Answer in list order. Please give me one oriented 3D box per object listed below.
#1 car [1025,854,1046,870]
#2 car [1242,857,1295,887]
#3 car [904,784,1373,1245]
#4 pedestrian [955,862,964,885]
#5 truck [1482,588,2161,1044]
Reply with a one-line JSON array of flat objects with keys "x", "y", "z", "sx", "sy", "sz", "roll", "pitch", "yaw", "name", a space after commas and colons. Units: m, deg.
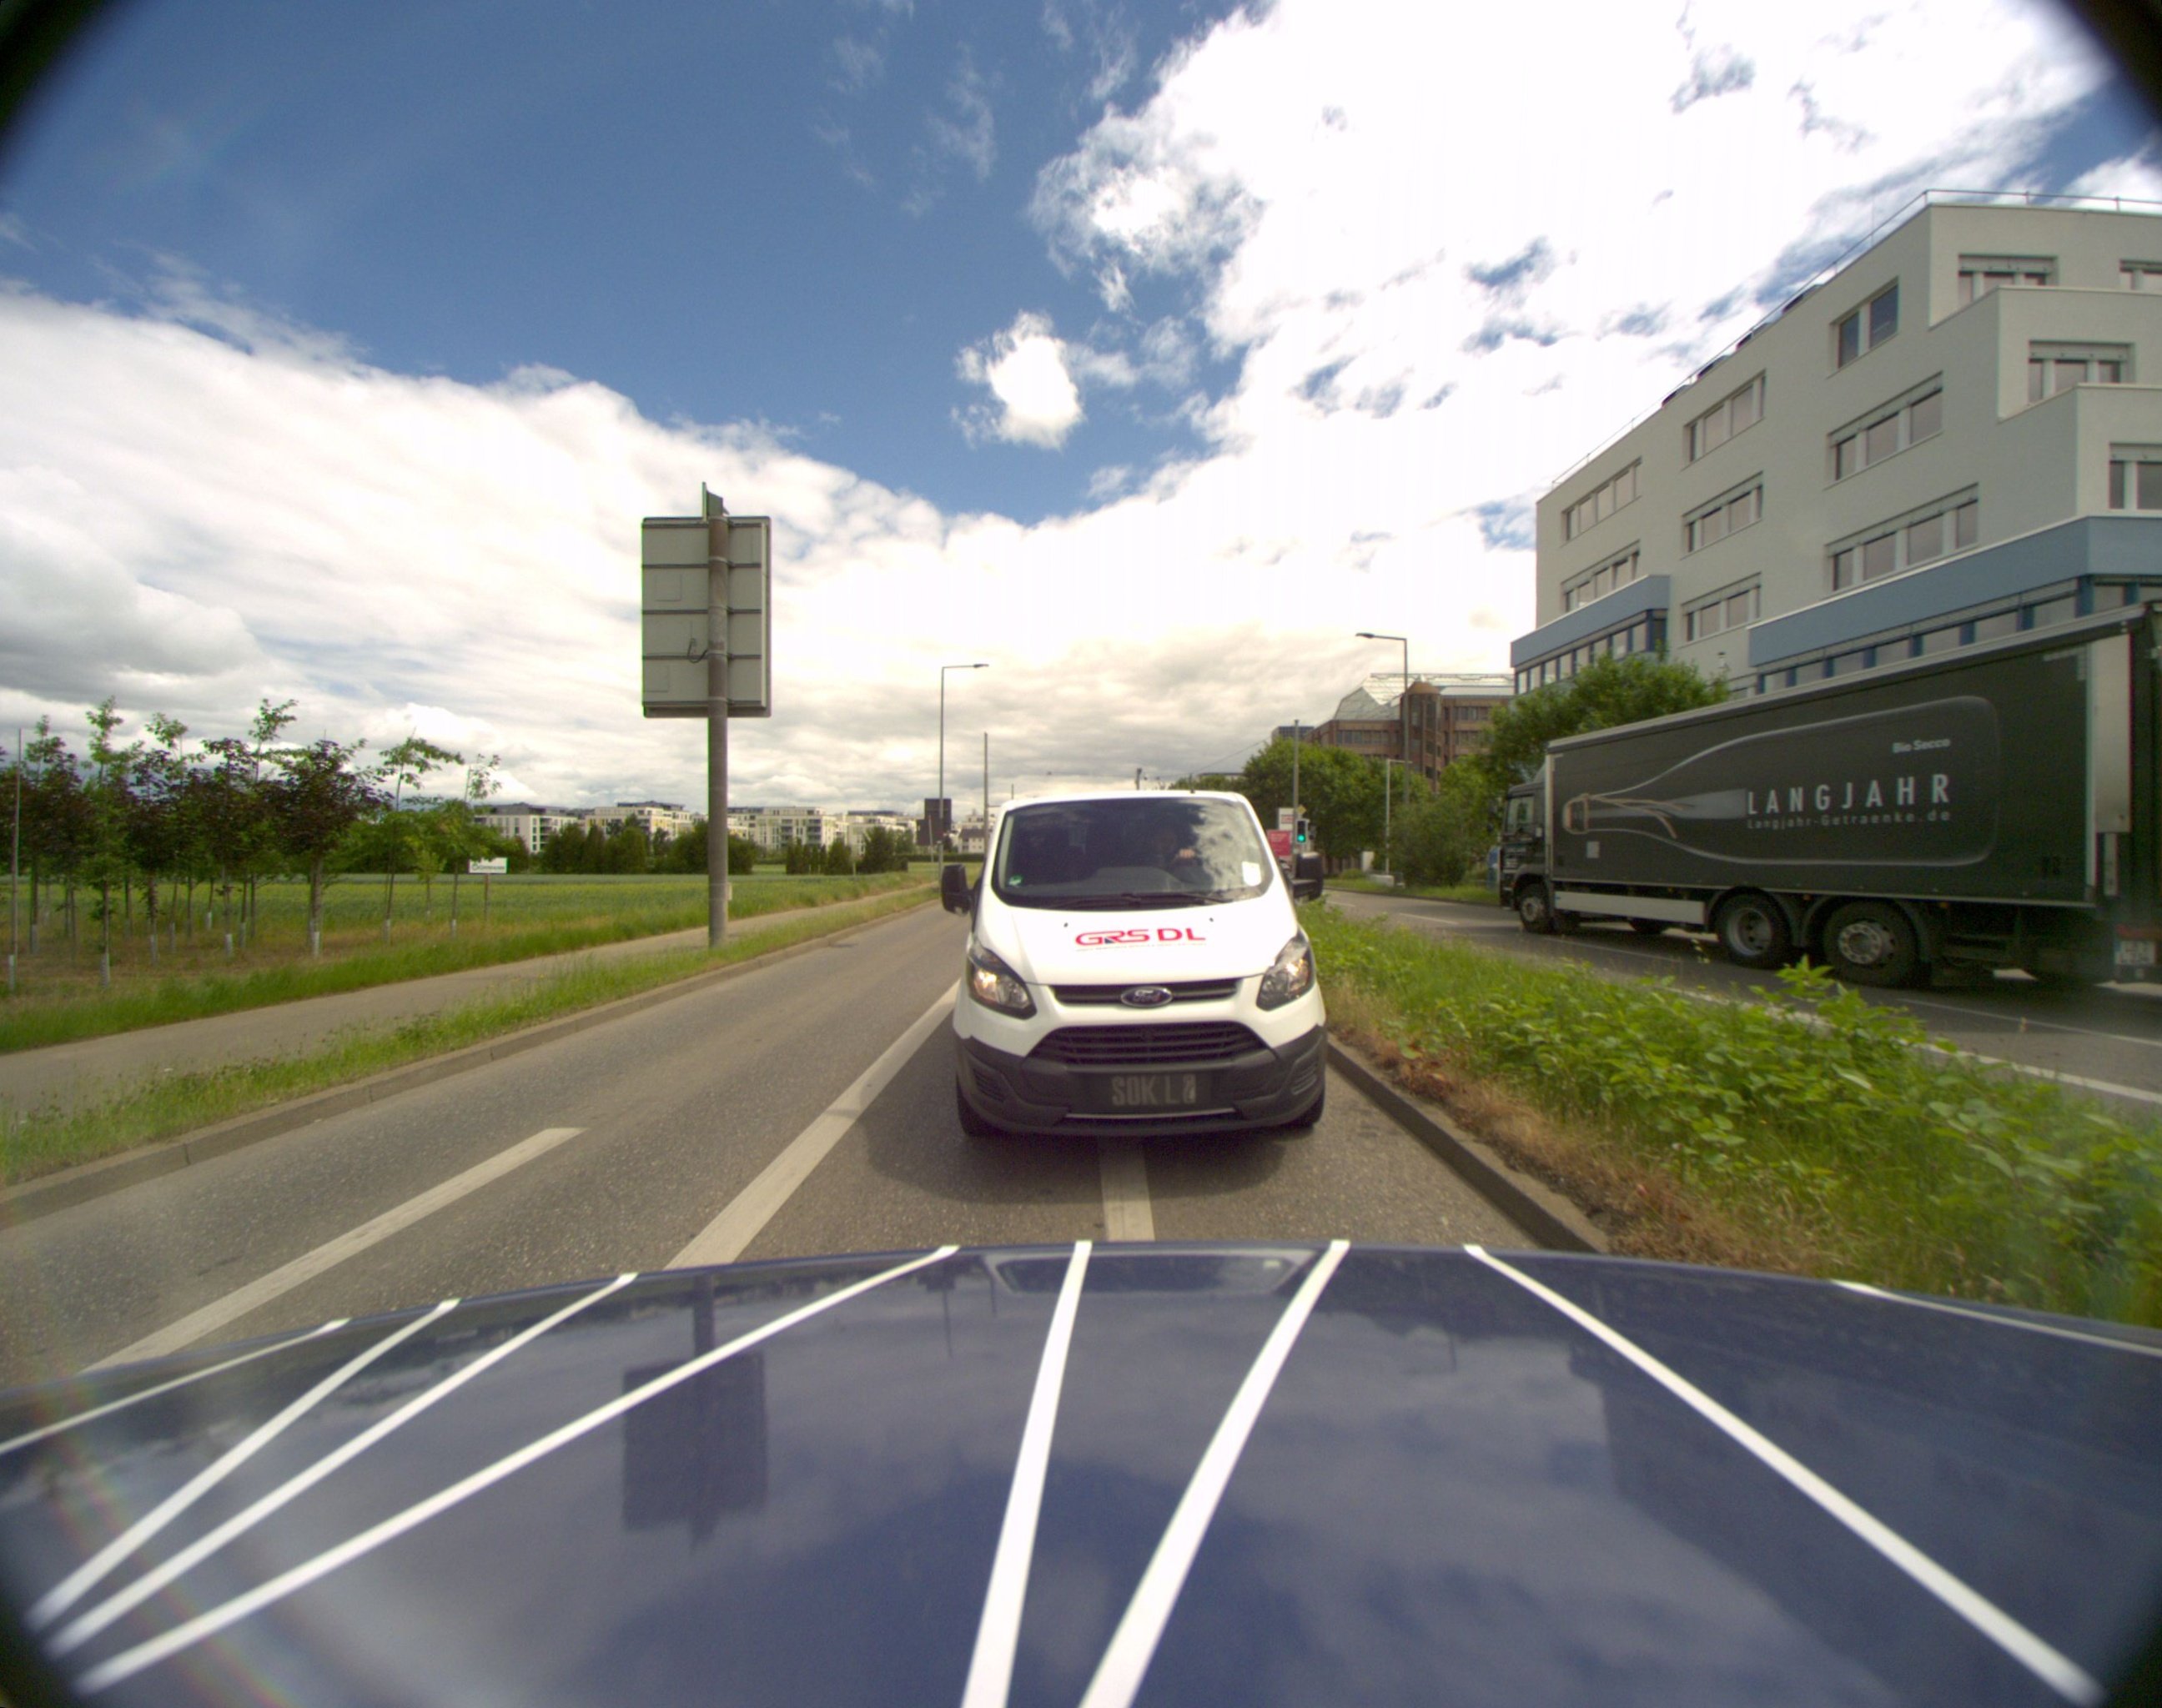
[{"x": -4.112, "y": 0.718, "z": 69.330, "sx": 1.683, "sy": 1.410, "sz": 3.739, "roll": -1, "pitch": 1, "yaw": -1, "name": "car"}, {"x": 9.106, "y": 0.839, "z": 37.185, "sx": 1.558, "sy": 1.375, "sz": 3.779, "roll": -1, "pitch": 0, "yaw": -1, "name": "car"}, {"x": 0.282, "y": 0.692, "z": 5.796, "sx": 1.968, "sy": 1.938, "sz": 5.055, "roll": -2, "pitch": 0, "yaw": 1, "name": "car"}, {"x": -9.392, "y": 1.496, "z": 58.796, "sx": 0.492, "sy": 1.693, "sz": 0.626, "roll": -2, "pitch": 1, "yaw": -1, "name": "pedestrian"}, {"x": 9.765, "y": -0.343, "z": 10.518, "sx": 3.176, "sy": 3.497, "sz": 9.524, "roll": -1, "pitch": 0, "yaw": -1, "name": "truck"}]
